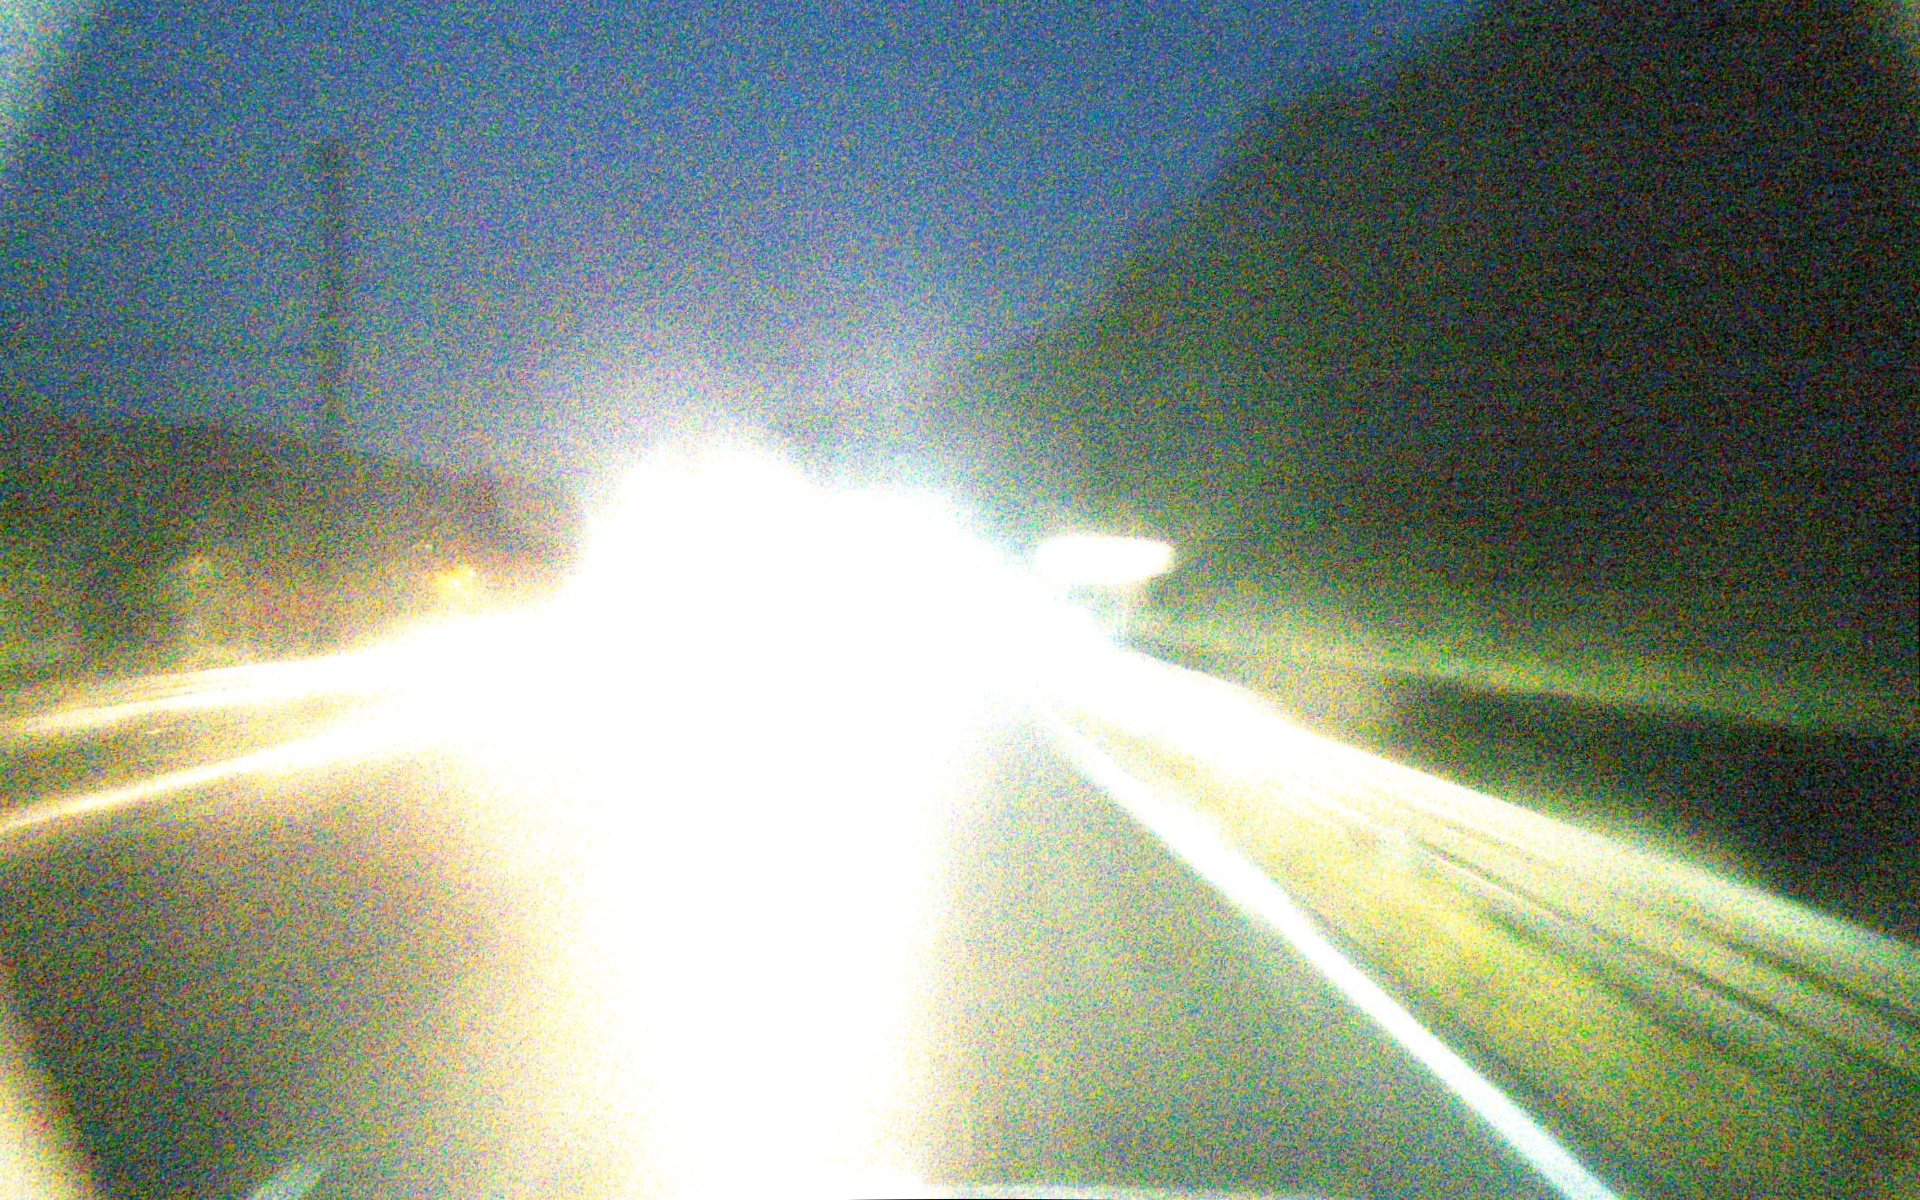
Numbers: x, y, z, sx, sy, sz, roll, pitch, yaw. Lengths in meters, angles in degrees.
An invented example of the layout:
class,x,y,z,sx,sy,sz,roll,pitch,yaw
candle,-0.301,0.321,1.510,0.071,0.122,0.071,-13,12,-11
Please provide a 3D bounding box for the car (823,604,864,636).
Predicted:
class,x,y,z,sx,sy,sz,roll,pitch,yaw
car,-5.698,0.952,81.168,1.831,1.473,4.391,1,0,-2

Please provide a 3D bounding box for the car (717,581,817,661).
class,x,y,z,sx,sy,sz,roll,pitch,yaw
car,-4.197,0.422,36.400,1.831,1.641,3.845,1,0,-2
